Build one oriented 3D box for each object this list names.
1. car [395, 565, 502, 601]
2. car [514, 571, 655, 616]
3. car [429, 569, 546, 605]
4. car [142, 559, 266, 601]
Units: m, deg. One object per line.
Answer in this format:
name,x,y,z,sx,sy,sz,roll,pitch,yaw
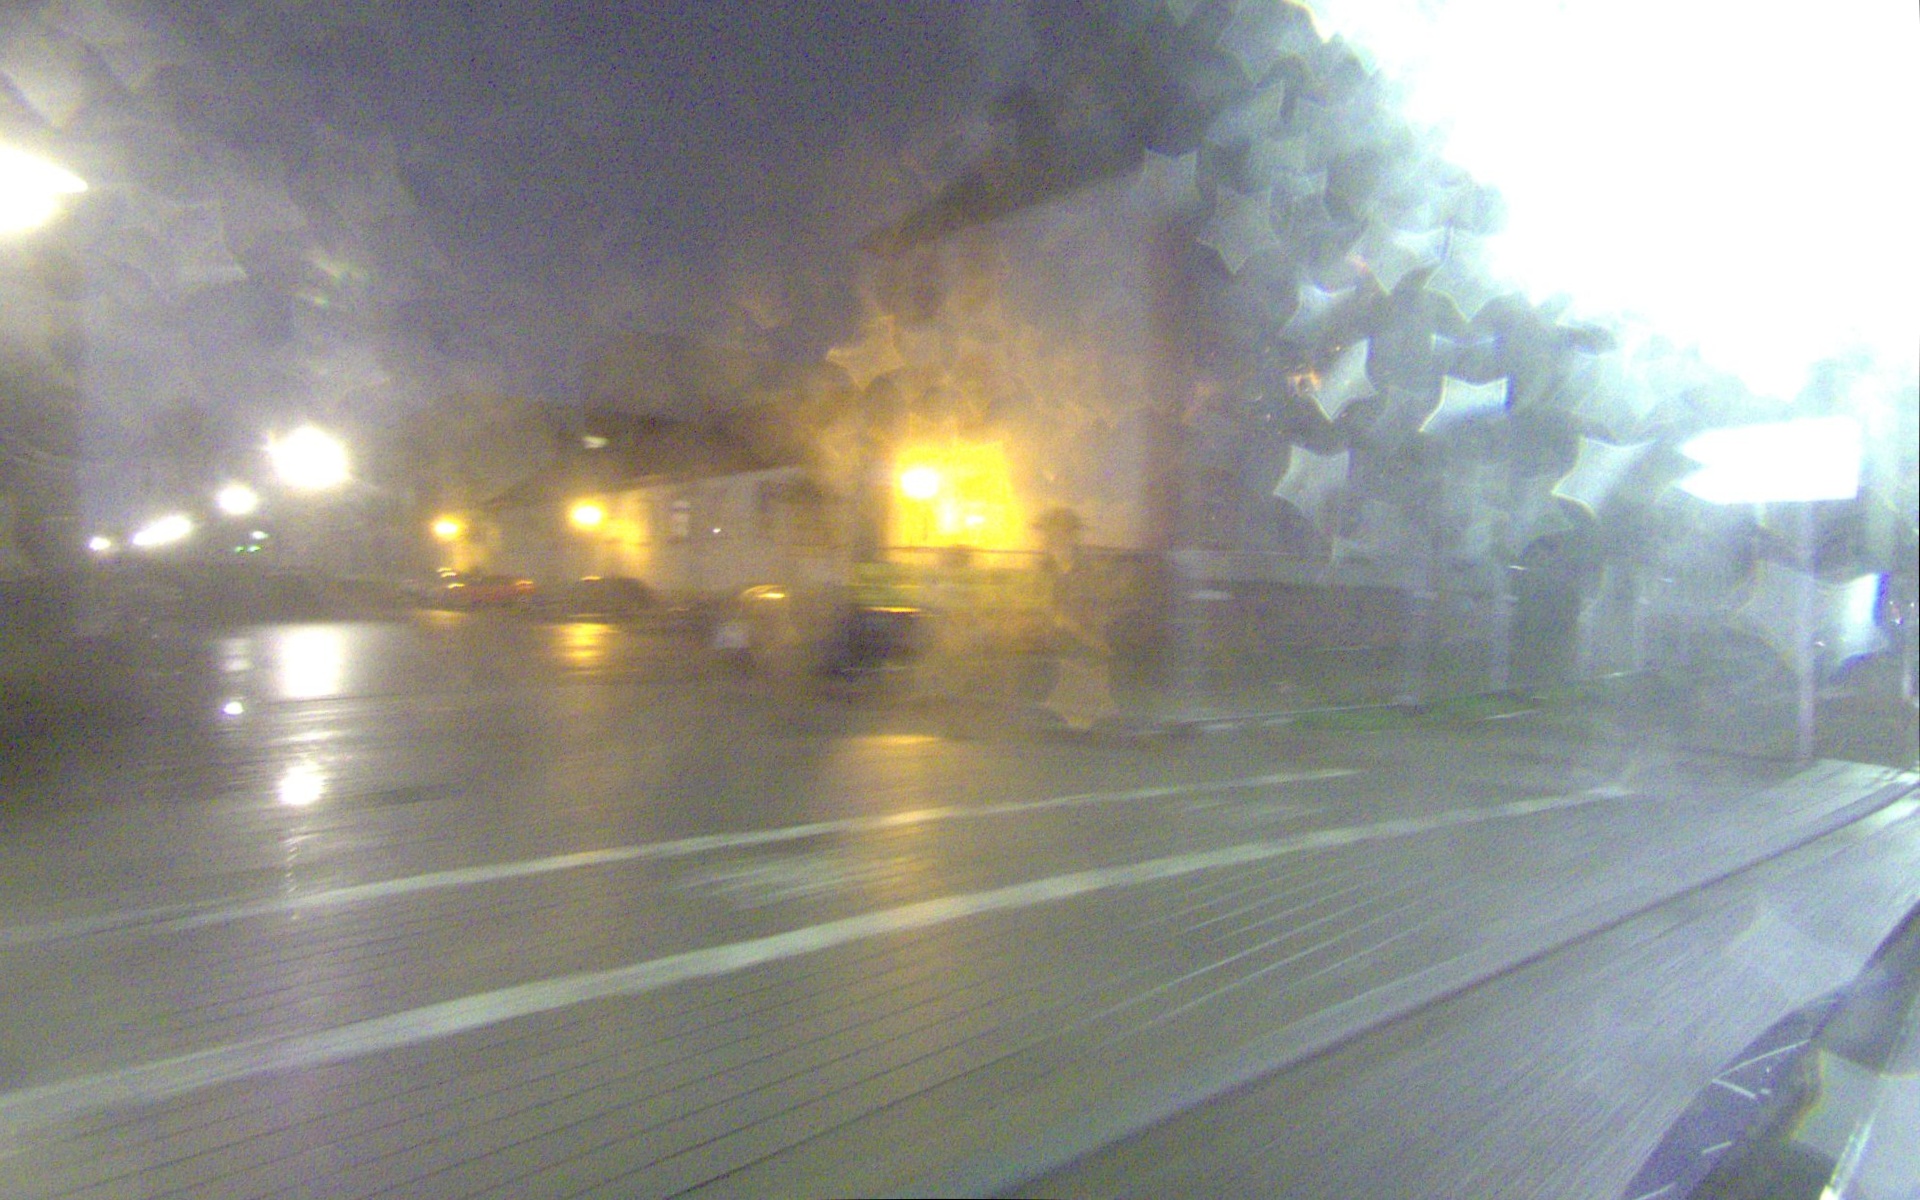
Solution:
car,-25.441,-0.842,50.378,4.502,1.709,1.753,0,1,-39
car,-13.647,-0.256,36.897,4.504,1.528,1.752,0,1,-41
car,-21.216,-0.568,45.509,4.502,1.528,1.753,0,1,-39
car,-29.120,-0.748,39.019,3.725,1.528,1.752,0,1,-40
